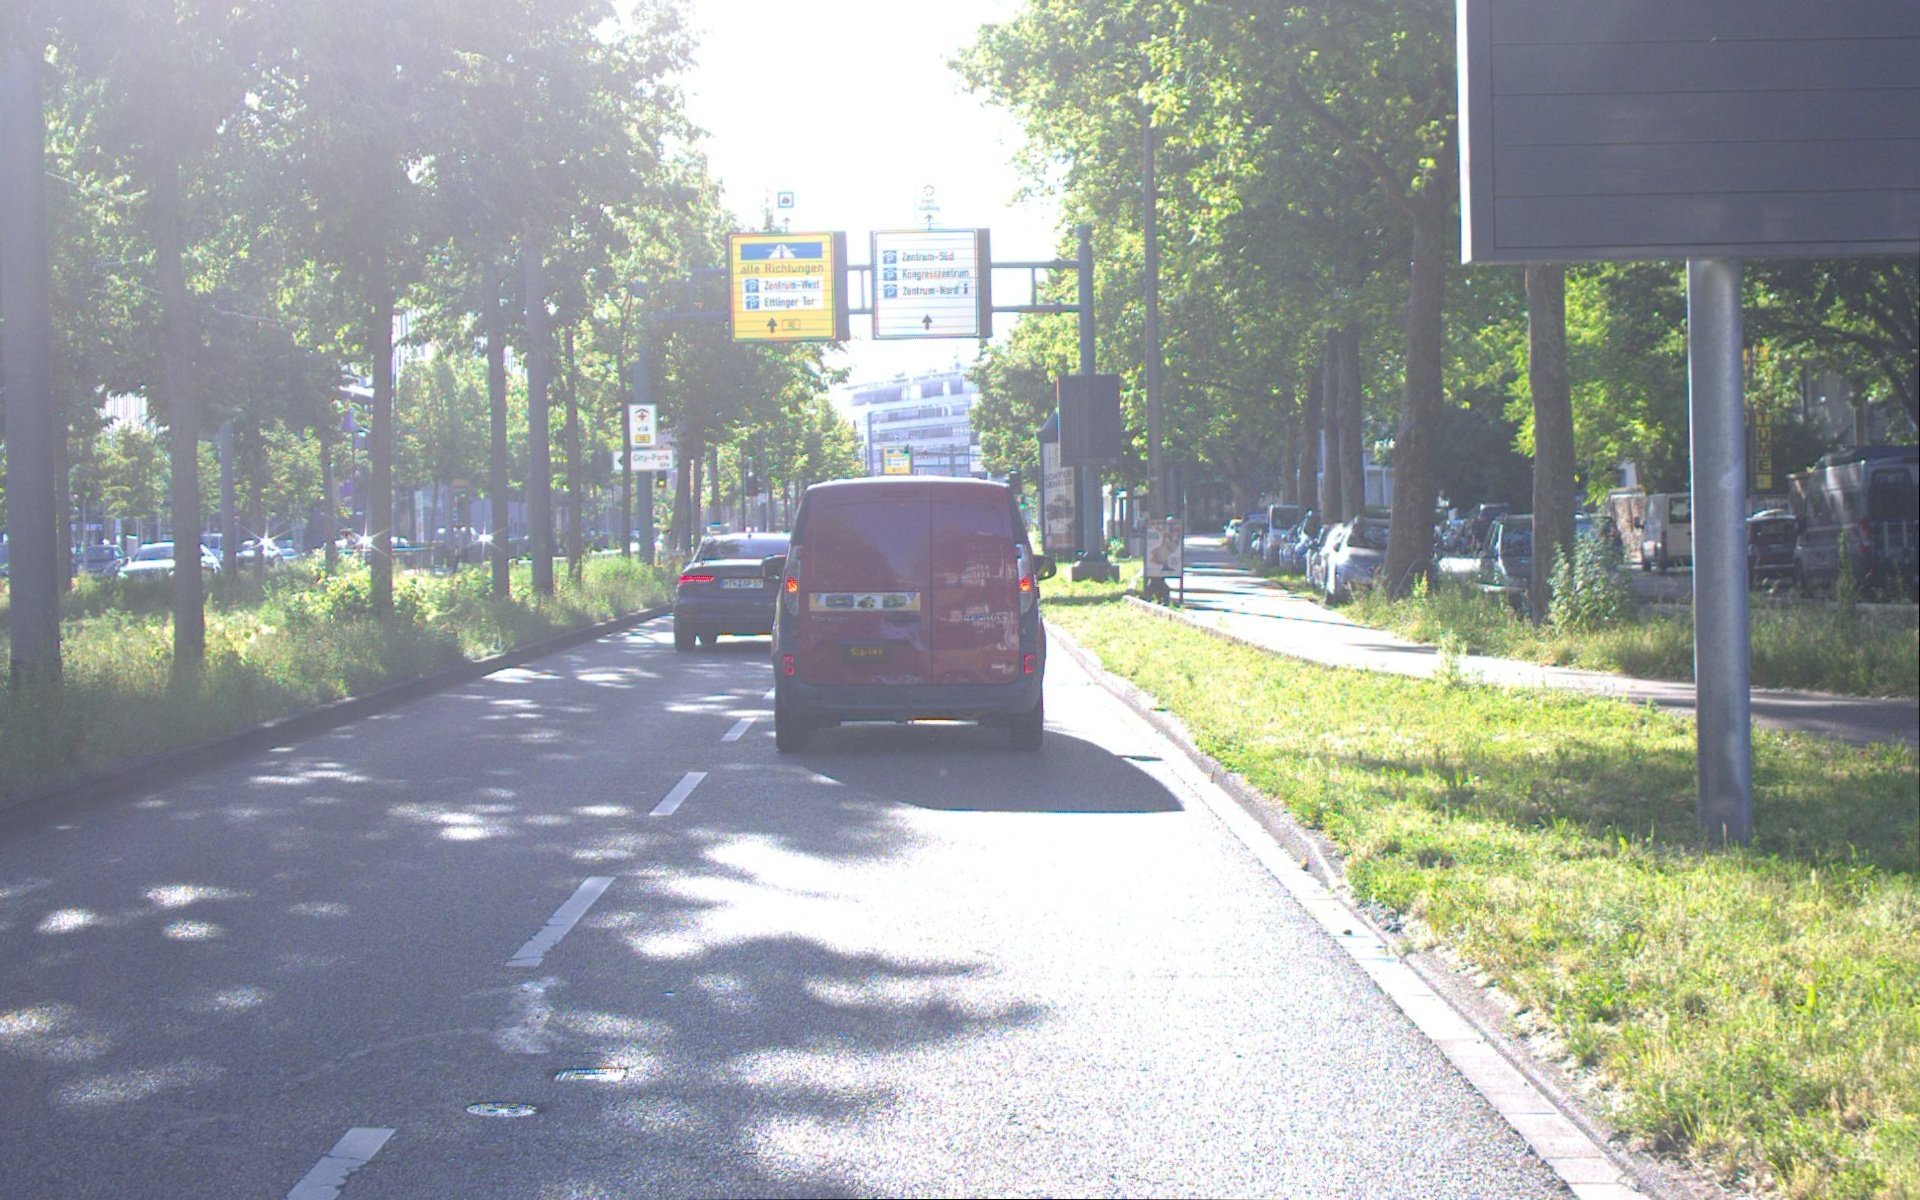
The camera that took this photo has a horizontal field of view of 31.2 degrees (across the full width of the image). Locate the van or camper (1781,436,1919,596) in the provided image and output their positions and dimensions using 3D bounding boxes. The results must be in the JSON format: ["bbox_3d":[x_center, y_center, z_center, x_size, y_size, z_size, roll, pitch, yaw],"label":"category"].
[{"bbox_3d":[16.636,-1.554,61.798,2.557,2.675,6.564,-3,1,5],"label":"van or camper"}]

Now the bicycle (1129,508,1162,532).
[{"bbox_3d":[10.306,-4.447,191.174,1.778,1.264,0.479,1,1,1],"label":"bicycle"}]

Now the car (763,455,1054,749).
[{"bbox_3d":[-0.431,-0.014,23.613,1.808,1.831,4.001,1,1,-3],"label":"car"}]

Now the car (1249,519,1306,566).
[{"bbox_3d":[10.296,-1.851,111.580,1.662,1.495,2.989,1,1,2],"label":"car"}]

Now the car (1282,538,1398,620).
[{"bbox_3d":[6.962,-0.398,63.283,1.793,1.433,3.884,1,1,2],"label":"car"}]

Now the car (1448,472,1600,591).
[{"bbox_3d":[8.195,-0.985,50.300,1.793,1.629,4.626,1,1,5],"label":"car"}]

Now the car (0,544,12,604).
[{"bbox_3d":[-23.750,-0.607,79.823,1.994,1.436,4.702,1,1,2],"label":"car"}]

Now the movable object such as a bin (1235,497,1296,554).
[{"bbox_3d":[10.814,-2.637,121.940,2.081,2.007,2.136,1,1,4],"label":"movable object such as a bin"}]

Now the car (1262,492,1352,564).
[{"bbox_3d":[8.137,-1.674,80.844,1.736,1.636,4.353,1,1,1],"label":"car"}]

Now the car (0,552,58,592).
[{"bbox_3d":[-32.451,-0.974,117.574,1.912,1.321,4.611,1,1,1],"label":"car"}]

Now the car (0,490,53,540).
[{"bbox_3d":[-39.594,-3.547,143.819,1.993,2.007,4.563,1,1,1],"label":"car"}]

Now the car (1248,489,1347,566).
[{"bbox_3d":[9.127,-1.955,93.443,2.190,2.007,5.820,1,1,1],"label":"car"}]

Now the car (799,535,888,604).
[{"bbox_3d":[-2.809,-0.745,83.557,1.993,1.612,4.000,1,1,0],"label":"car"}]

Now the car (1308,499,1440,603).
[{"bbox_3d":[6.719,-0.799,56.119,1.793,1.555,4.020,2,1,3],"label":"car"}]

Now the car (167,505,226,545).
[{"bbox_3d":[-39.361,-3.872,177.313,1.993,2.007,4.563,1,1,1],"label":"car"}]

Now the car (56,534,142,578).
[{"bbox_3d":[-32.483,-1.652,129.820,1.993,1.603,4.611,1,1,1],"label":"car"}]

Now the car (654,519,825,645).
[{"bbox_3d":[-2.614,-0.232,41.579,1.792,1.423,4.000,1,1,0],"label":"car"}]

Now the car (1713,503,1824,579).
[{"bbox_3d":[16.902,-1.235,71.973,1.690,1.467,3.757,-3,1,5],"label":"car"}]

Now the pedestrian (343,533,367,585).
[{"bbox_3d":[-17.838,-1.205,101.306,0.550,1.513,0.588,1,1,5],"label":"pedestrian"}]

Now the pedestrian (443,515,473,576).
[{"bbox_3d":[-15.125,-1.632,103.582,0.820,1.829,0.726,1,1,-3],"label":"pedestrian"}]

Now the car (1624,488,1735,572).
[{"bbox_3d":[17.782,-1.724,85.184,2.087,2.007,4.942,0,1,5],"label":"car"}]
